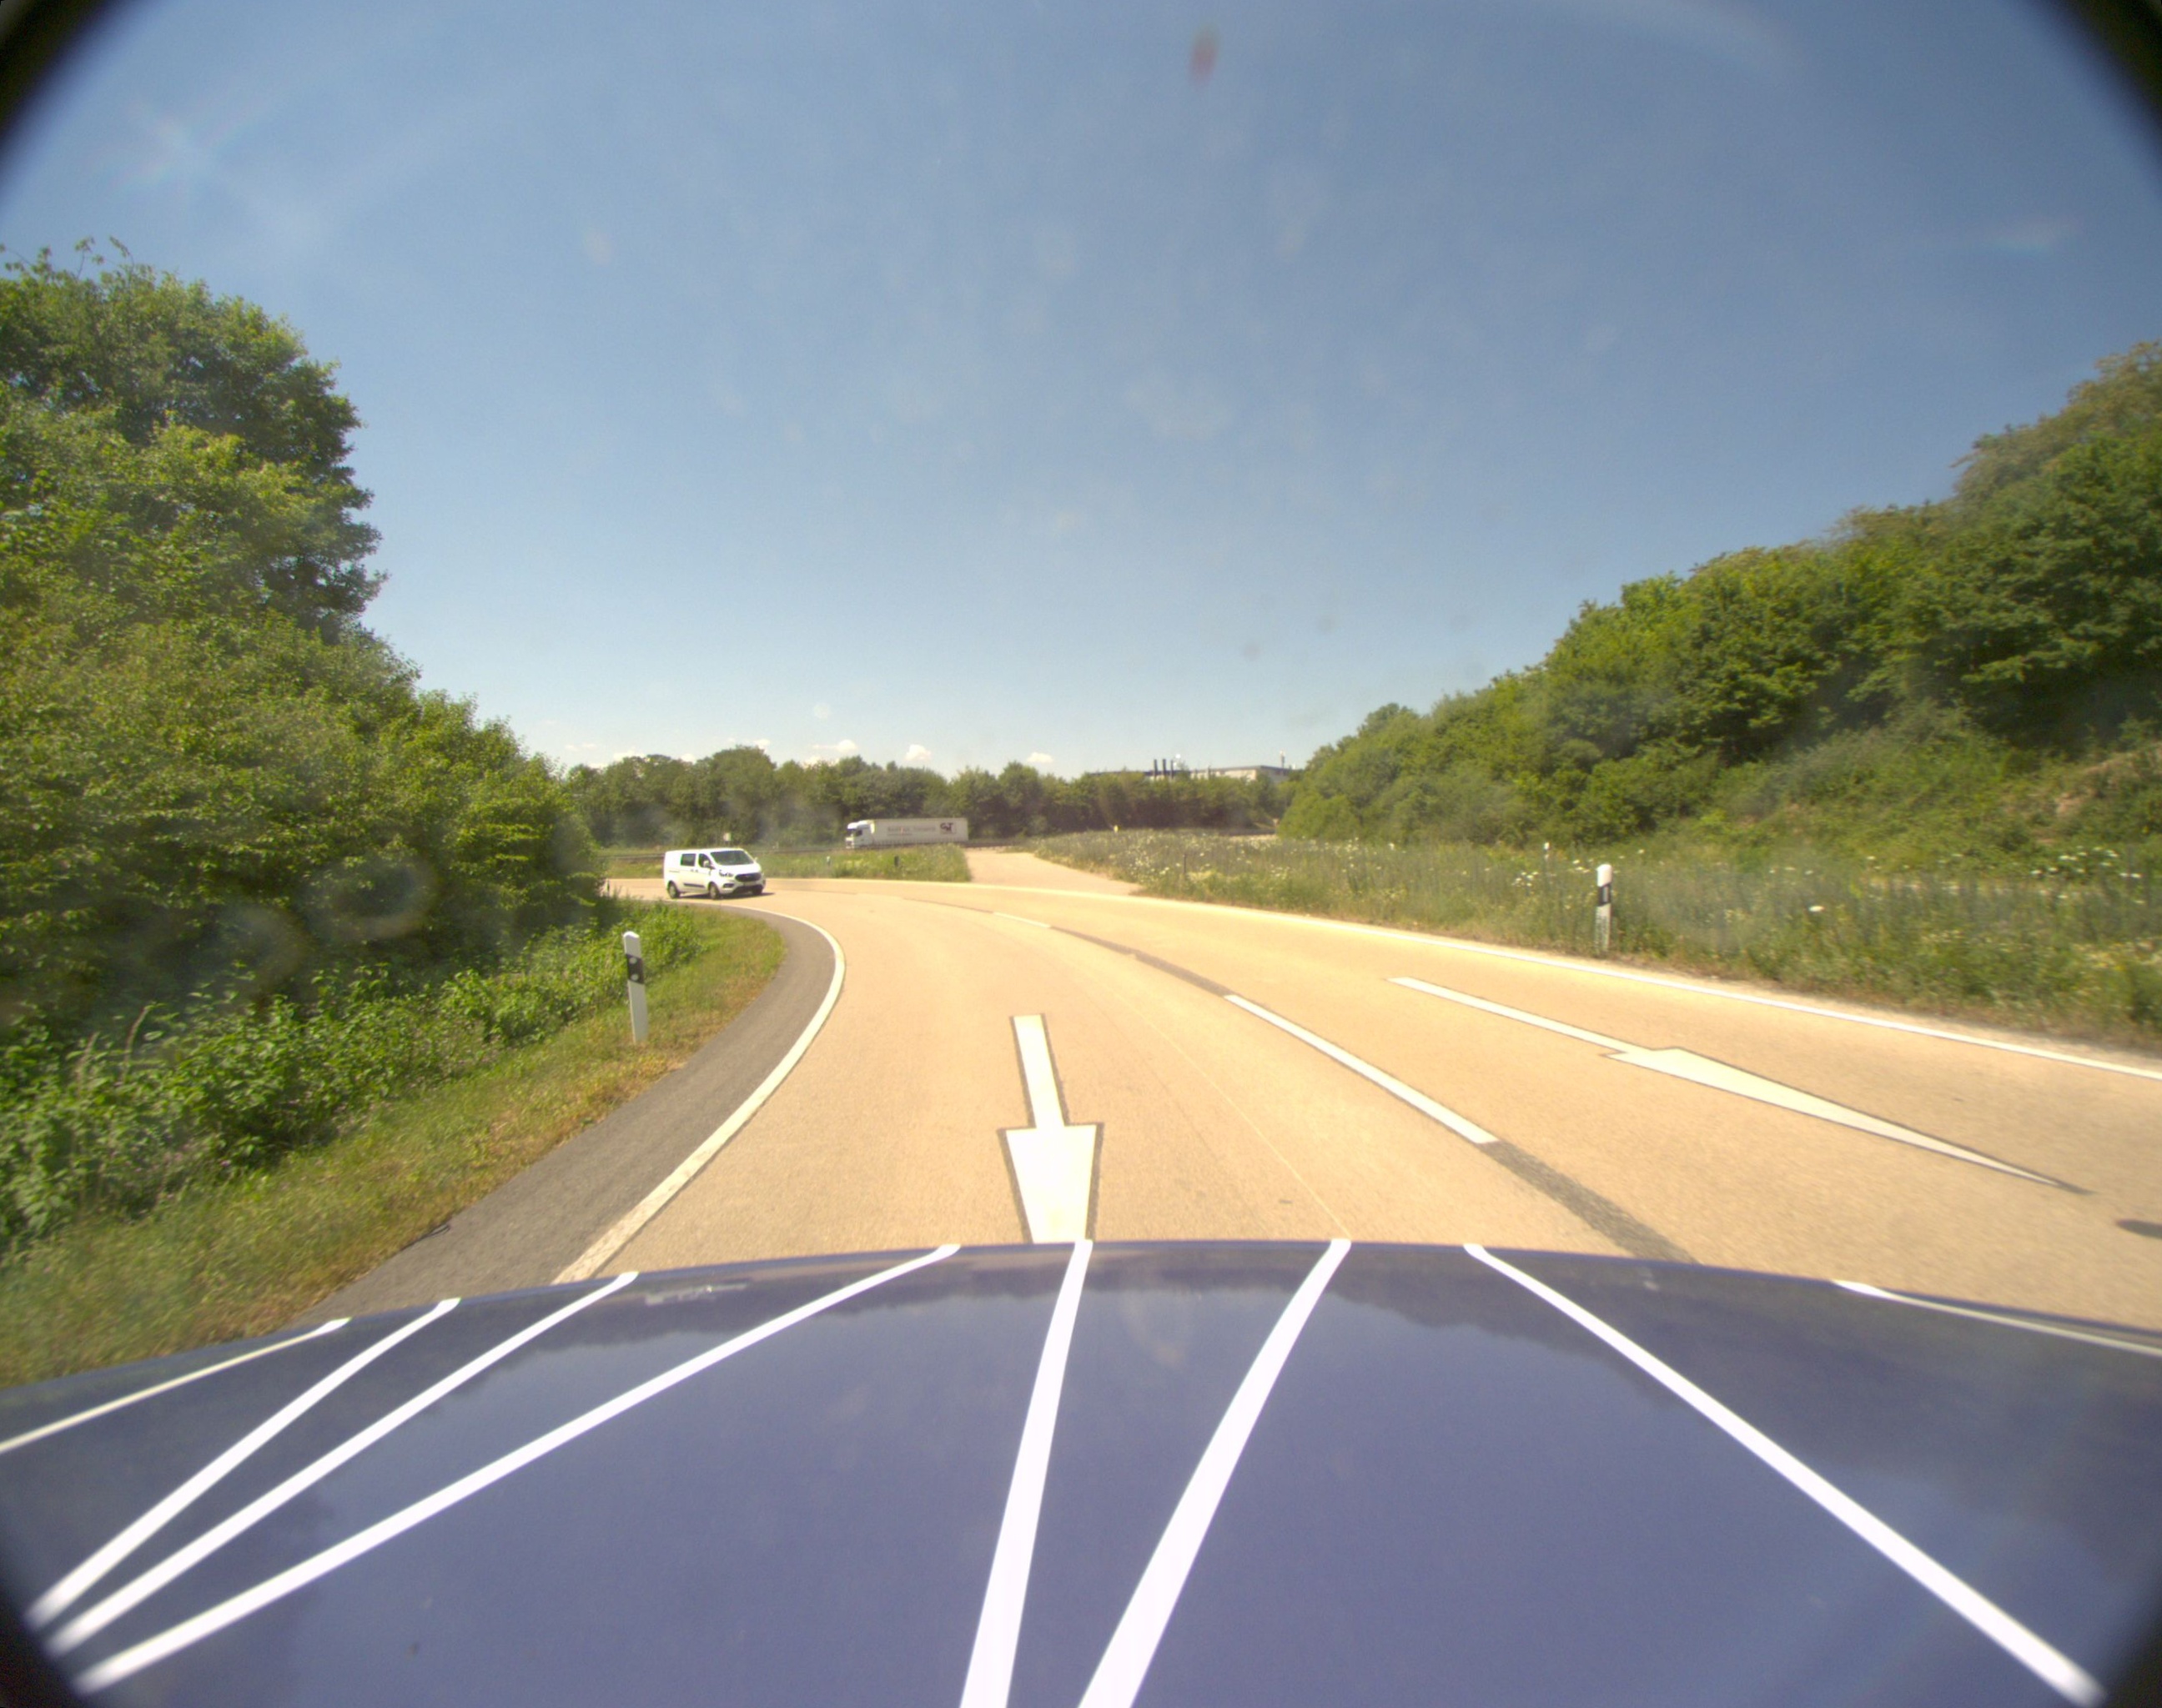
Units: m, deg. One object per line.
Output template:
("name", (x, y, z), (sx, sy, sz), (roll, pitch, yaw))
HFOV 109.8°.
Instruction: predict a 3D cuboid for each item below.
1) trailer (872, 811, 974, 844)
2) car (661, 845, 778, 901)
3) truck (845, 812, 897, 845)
("trailer", (-20.890, -3.645, 101.683), (13.297, 3.918, 2.913), (-4, 3, -39))
("car", (-14.842, 0.739, 31.110), (5.027, 2.003, 2.067), (-1, 4, 36))
("truck", (-26.785, -3.234, 96.916), (5.427, 3.918, 2.913), (-4, 3, -39))
